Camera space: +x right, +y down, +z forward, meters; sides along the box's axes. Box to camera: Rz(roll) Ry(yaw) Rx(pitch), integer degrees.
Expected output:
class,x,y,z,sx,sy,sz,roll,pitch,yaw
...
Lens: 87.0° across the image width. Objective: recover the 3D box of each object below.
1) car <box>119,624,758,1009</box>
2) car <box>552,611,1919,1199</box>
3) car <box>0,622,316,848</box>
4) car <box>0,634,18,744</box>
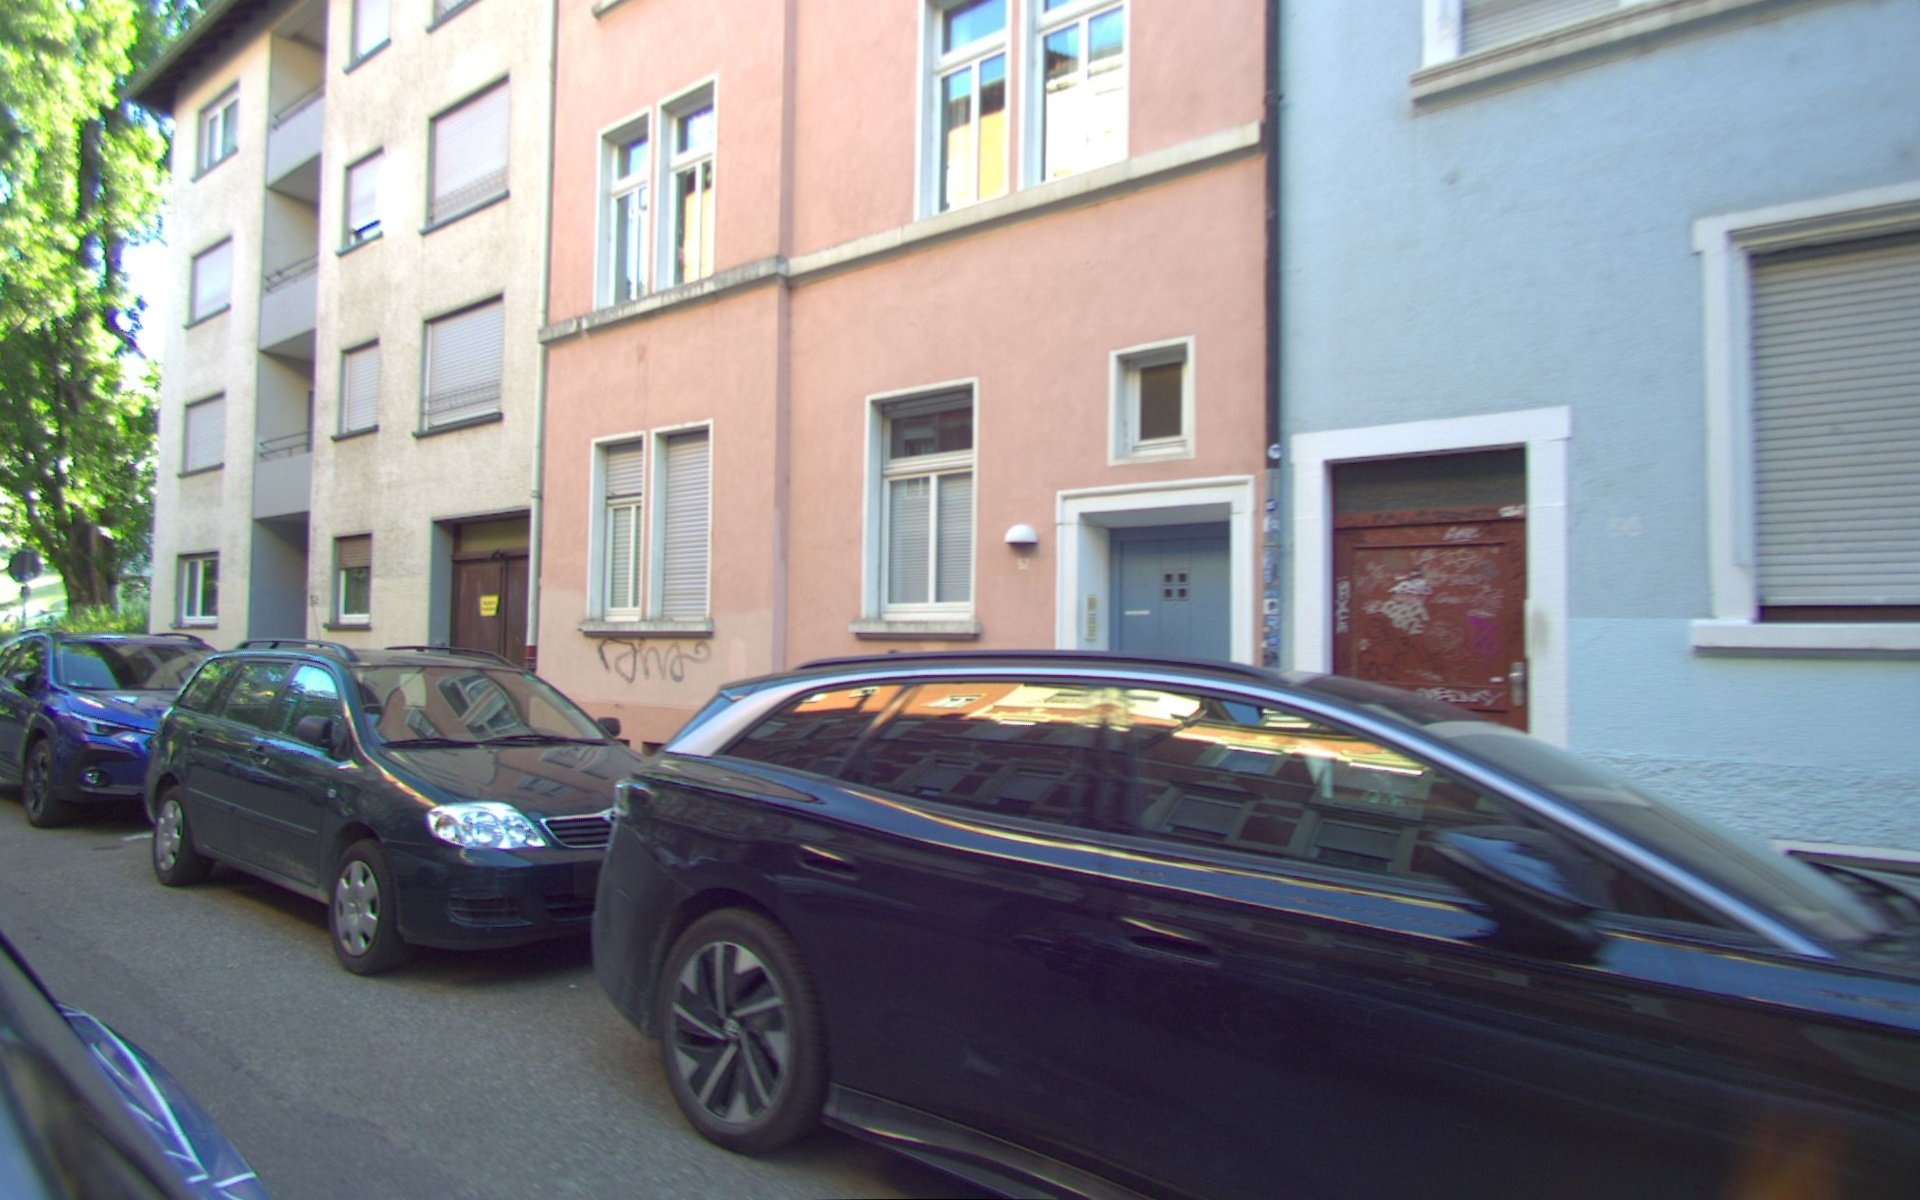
class,x,y,z,sx,sy,sz,roll,pitch,yaw
car,-3.158,0.925,5.838,3.992,1.503,1.628,-1,-4,36
car,1.005,0.855,2.858,4.687,1.520,1.751,-1,-5,36
car,-7.620,1.039,9.062,4.240,1.586,1.628,-1,-5,36
car,-15.217,1.254,14.736,3.653,1.533,1.448,-2,-5,36
